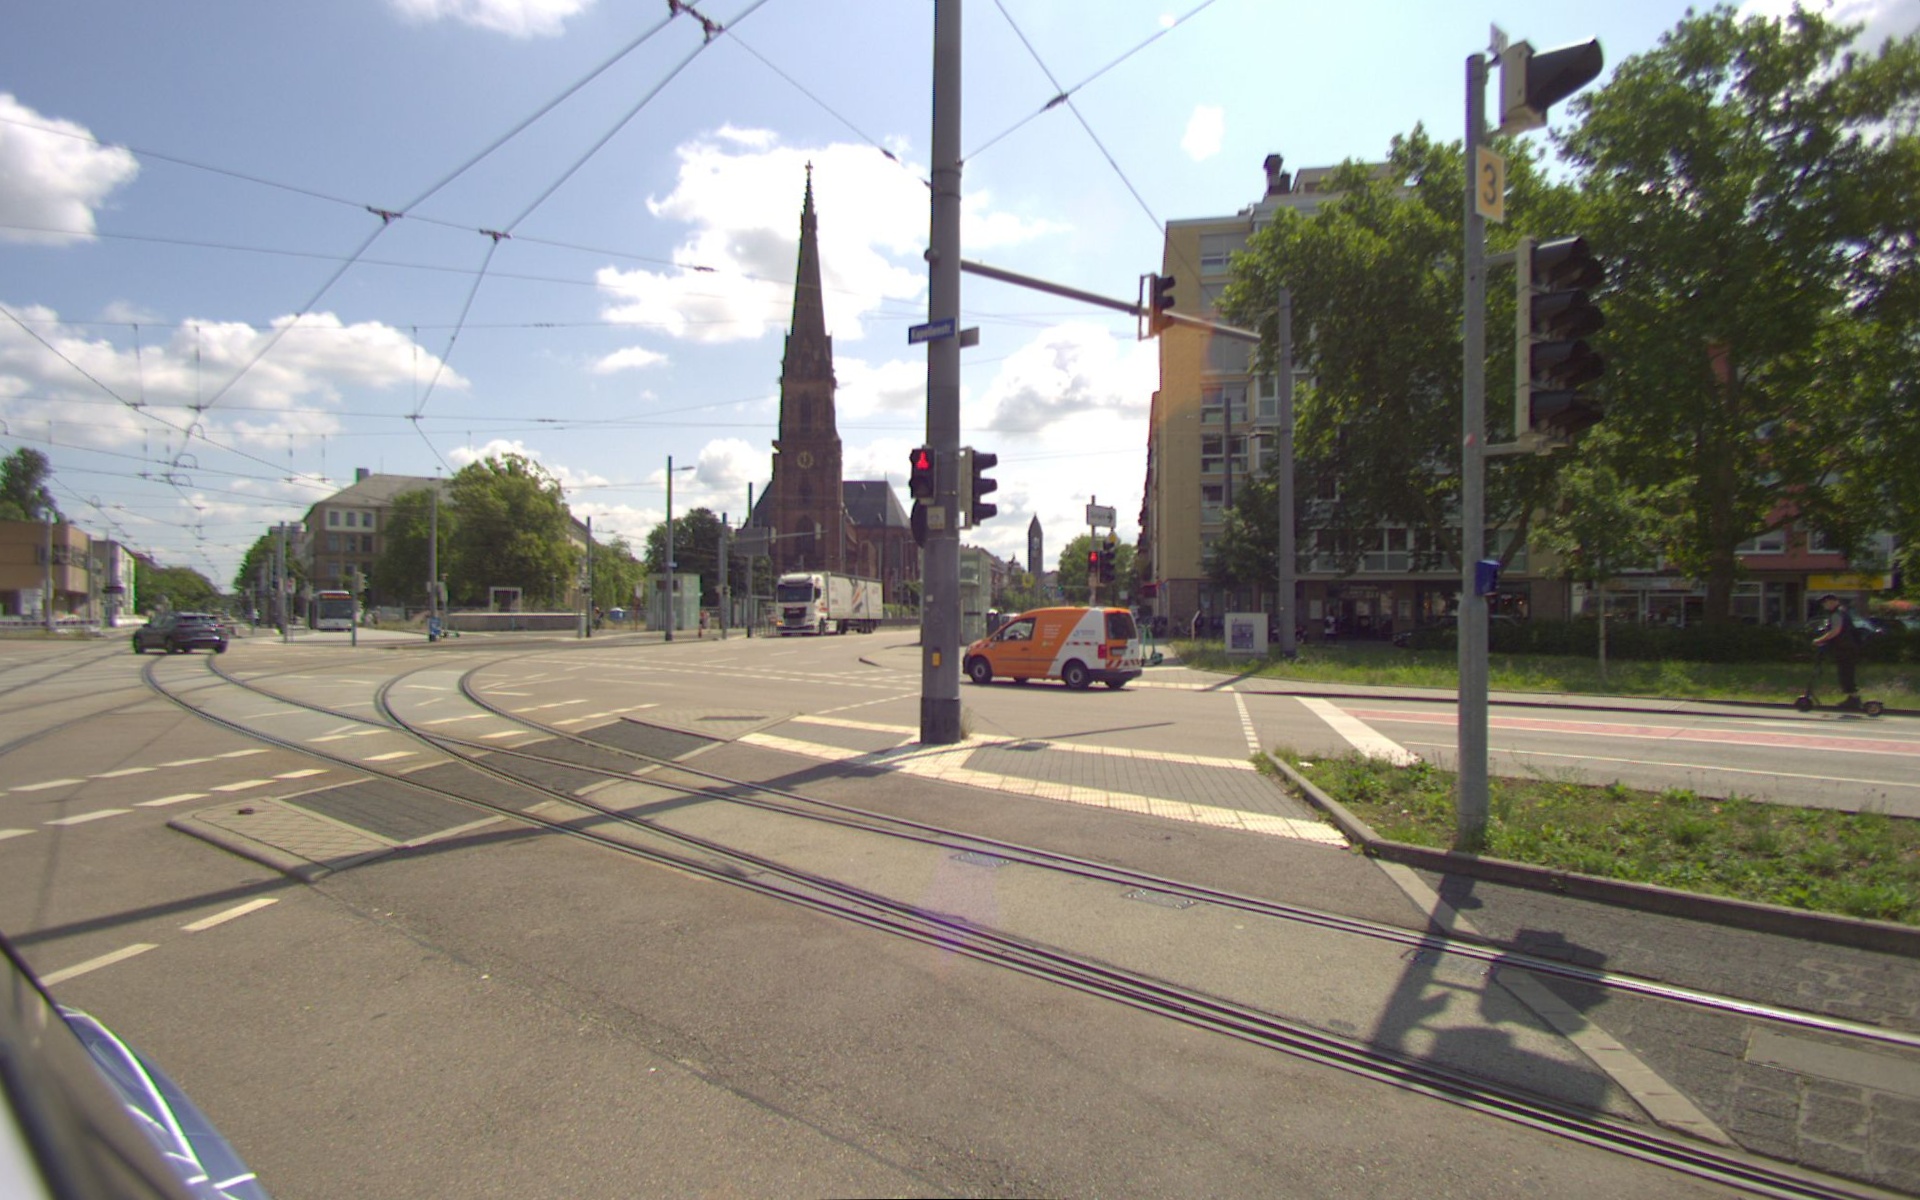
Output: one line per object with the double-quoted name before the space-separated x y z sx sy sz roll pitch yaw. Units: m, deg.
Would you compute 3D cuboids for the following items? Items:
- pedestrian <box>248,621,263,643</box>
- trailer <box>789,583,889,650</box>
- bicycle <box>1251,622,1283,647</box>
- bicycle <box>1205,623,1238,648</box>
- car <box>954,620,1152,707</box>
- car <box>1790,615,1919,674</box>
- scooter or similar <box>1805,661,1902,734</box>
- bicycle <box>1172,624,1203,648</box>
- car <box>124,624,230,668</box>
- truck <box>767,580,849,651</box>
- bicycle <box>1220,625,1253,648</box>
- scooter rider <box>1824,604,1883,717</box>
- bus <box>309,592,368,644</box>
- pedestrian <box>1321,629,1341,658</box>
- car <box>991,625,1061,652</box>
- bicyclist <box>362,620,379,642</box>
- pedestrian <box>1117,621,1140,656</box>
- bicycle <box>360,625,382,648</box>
"pedestrian" -61.543 2.783 88.416 0.897 1.837 1.023 3 -3 -39
"trailer" -8.003 1.181 69.462 2.917 4.107 13.371 0 -1 11
"bicycle" 16.375 1.842 54.047 1.585 1.274 0.491 -1 -1 12
"bicycle" 13.444 1.837 52.091 1.585 1.274 0.491 -1 -1 12
"car" 2.026 1.383 22.836 4.238 1.779 1.747 -2 -3 40
"car" 32.611 1.595 36.974 1.981 2.029 3.981 -1 -2 14
"scooter or similar" 13.986 1.507 15.860 1.092 1.040 0.795 -1 -2 42
"bicycle" 12.323 1.958 54.793 1.585 1.274 0.491 -1 -1 12
"car" -29.666 1.727 38.312 4.093 1.572 1.796 -1 -3 31
"truck" -9.294 0.972 62.744 2.933 4.150 6.853 0 -1 11
"bicycle" 13.927 1.833 51.024 1.585 1.176 0.491 -1 -1 12
"scooter rider" 13.998 0.925 15.863 0.649 1.720 0.768 -1 -2 42
"bus" -44.572 1.332 72.456 2.904 3.474 7.965 1 -2 -37
"pedestrian" 17.398 2.033 47.424 0.751 1.336 0.561 -1 -1 7
"car" 4.126 2.385 62.777 4.101 1.655 1.634 1 -2 -30
"bicyclist" -54.893 2.852 94.203 1.108 2.029 1.322 3 -3 -39
"pedestrian" 7.492 1.713 45.061 0.873 1.572 0.719 -1 -2 20
"bicycle" -54.840 3.387 94.149 1.228 2.029 3.491 1 -2 -39
